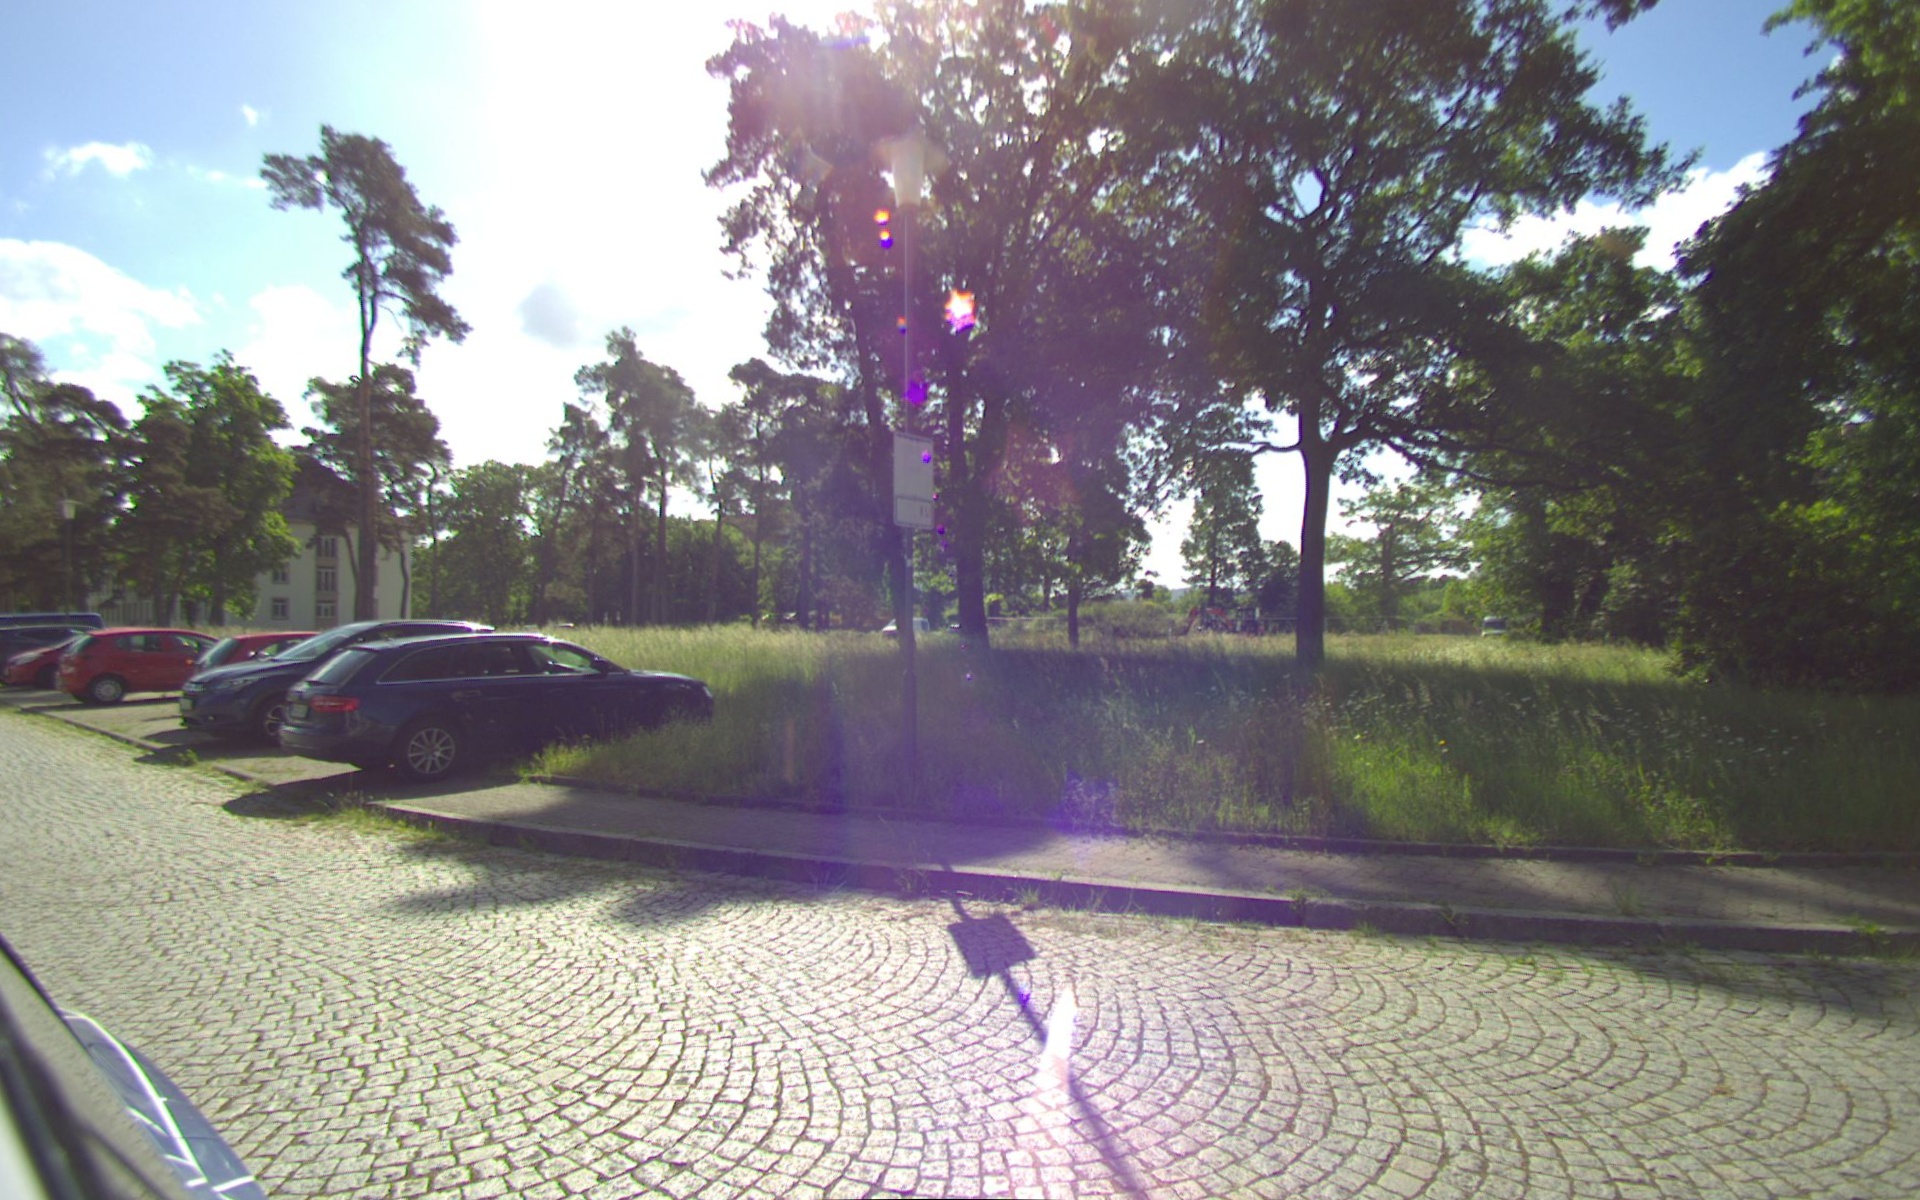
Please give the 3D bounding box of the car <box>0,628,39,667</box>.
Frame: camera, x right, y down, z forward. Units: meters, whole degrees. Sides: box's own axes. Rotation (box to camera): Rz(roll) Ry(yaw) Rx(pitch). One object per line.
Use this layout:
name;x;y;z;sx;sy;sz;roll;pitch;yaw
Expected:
car;-37.801;1.851;38.384;1.921;1.436;4.035;-2;-1;40

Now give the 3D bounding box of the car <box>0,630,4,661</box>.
car;-47.561;2.183;46.850;1.980;1.463;4.540;-1;0;36

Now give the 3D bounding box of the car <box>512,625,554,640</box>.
car;-49.032;3.725;116.209;1.719;1.593;4.053;-1;-2;41

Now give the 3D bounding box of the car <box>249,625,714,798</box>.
car;-5.135;1.063;11.314;1.920;1.456;4.313;-2;-1;42

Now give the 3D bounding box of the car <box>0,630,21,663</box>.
car;-45.385;2.161;45.221;1.937;1.431;4.816;0;0;39

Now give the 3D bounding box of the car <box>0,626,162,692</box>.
car;-24.507;1.588;27.634;1.971;1.579;3.916;-2;-1;38

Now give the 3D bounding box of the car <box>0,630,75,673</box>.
car;-35.247;1.920;36.958;1.822;1.486;4.155;-2;-1;39

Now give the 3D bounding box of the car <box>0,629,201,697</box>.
car;-22.226;1.555;26.115;1.864;1.460;3.886;-2;0;38

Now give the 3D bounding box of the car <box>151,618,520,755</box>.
car;-8.723;1.099;14.421;1.882;1.591;4.094;-2;-1;39

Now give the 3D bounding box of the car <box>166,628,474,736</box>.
car;-10.282;1.230;16.470;1.841;1.444;3.883;-2;-1;40

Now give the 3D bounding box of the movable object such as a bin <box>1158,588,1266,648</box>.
movable object such as a bin;16.700;1.216;67.115;6.730;3.759;3.911;0;-2;16

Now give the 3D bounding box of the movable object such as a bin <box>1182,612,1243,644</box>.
movable object such as a bin;18.074;2.003;72.657;2.490;2.142;5.685;0;-2;-5

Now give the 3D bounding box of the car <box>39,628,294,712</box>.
car;-16.473;1.387;21.167;1.839;1.472;3.886;-2;-1;38

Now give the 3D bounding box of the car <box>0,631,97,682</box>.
car;-29.531;1.777;31.483;1.680;1.451;3.781;-1;0;36

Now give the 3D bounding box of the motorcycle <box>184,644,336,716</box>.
motorcycle;-12.759;1.426;18.519;0.576;1.170;2.219;-1;-1;40

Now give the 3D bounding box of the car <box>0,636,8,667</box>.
car;-42.046;2.205;41.953;1.759;1.243;3.593;0;0;40

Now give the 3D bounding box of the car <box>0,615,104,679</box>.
car;-31.397;1.539;33.259;2.003;1.983;4.671;-1;0;39

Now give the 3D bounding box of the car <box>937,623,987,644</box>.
car;0.184;2.720;82.268;1.911;1.617;4.185;-1;-2;40

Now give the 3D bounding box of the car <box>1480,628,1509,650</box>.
car;44.855;3.249;85.001;1.985;1.868;4.100;-1;-2;27

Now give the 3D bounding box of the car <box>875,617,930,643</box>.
car;-4.885;2.542;86.348;1.956;2.180;4.796;-1;-2;40
